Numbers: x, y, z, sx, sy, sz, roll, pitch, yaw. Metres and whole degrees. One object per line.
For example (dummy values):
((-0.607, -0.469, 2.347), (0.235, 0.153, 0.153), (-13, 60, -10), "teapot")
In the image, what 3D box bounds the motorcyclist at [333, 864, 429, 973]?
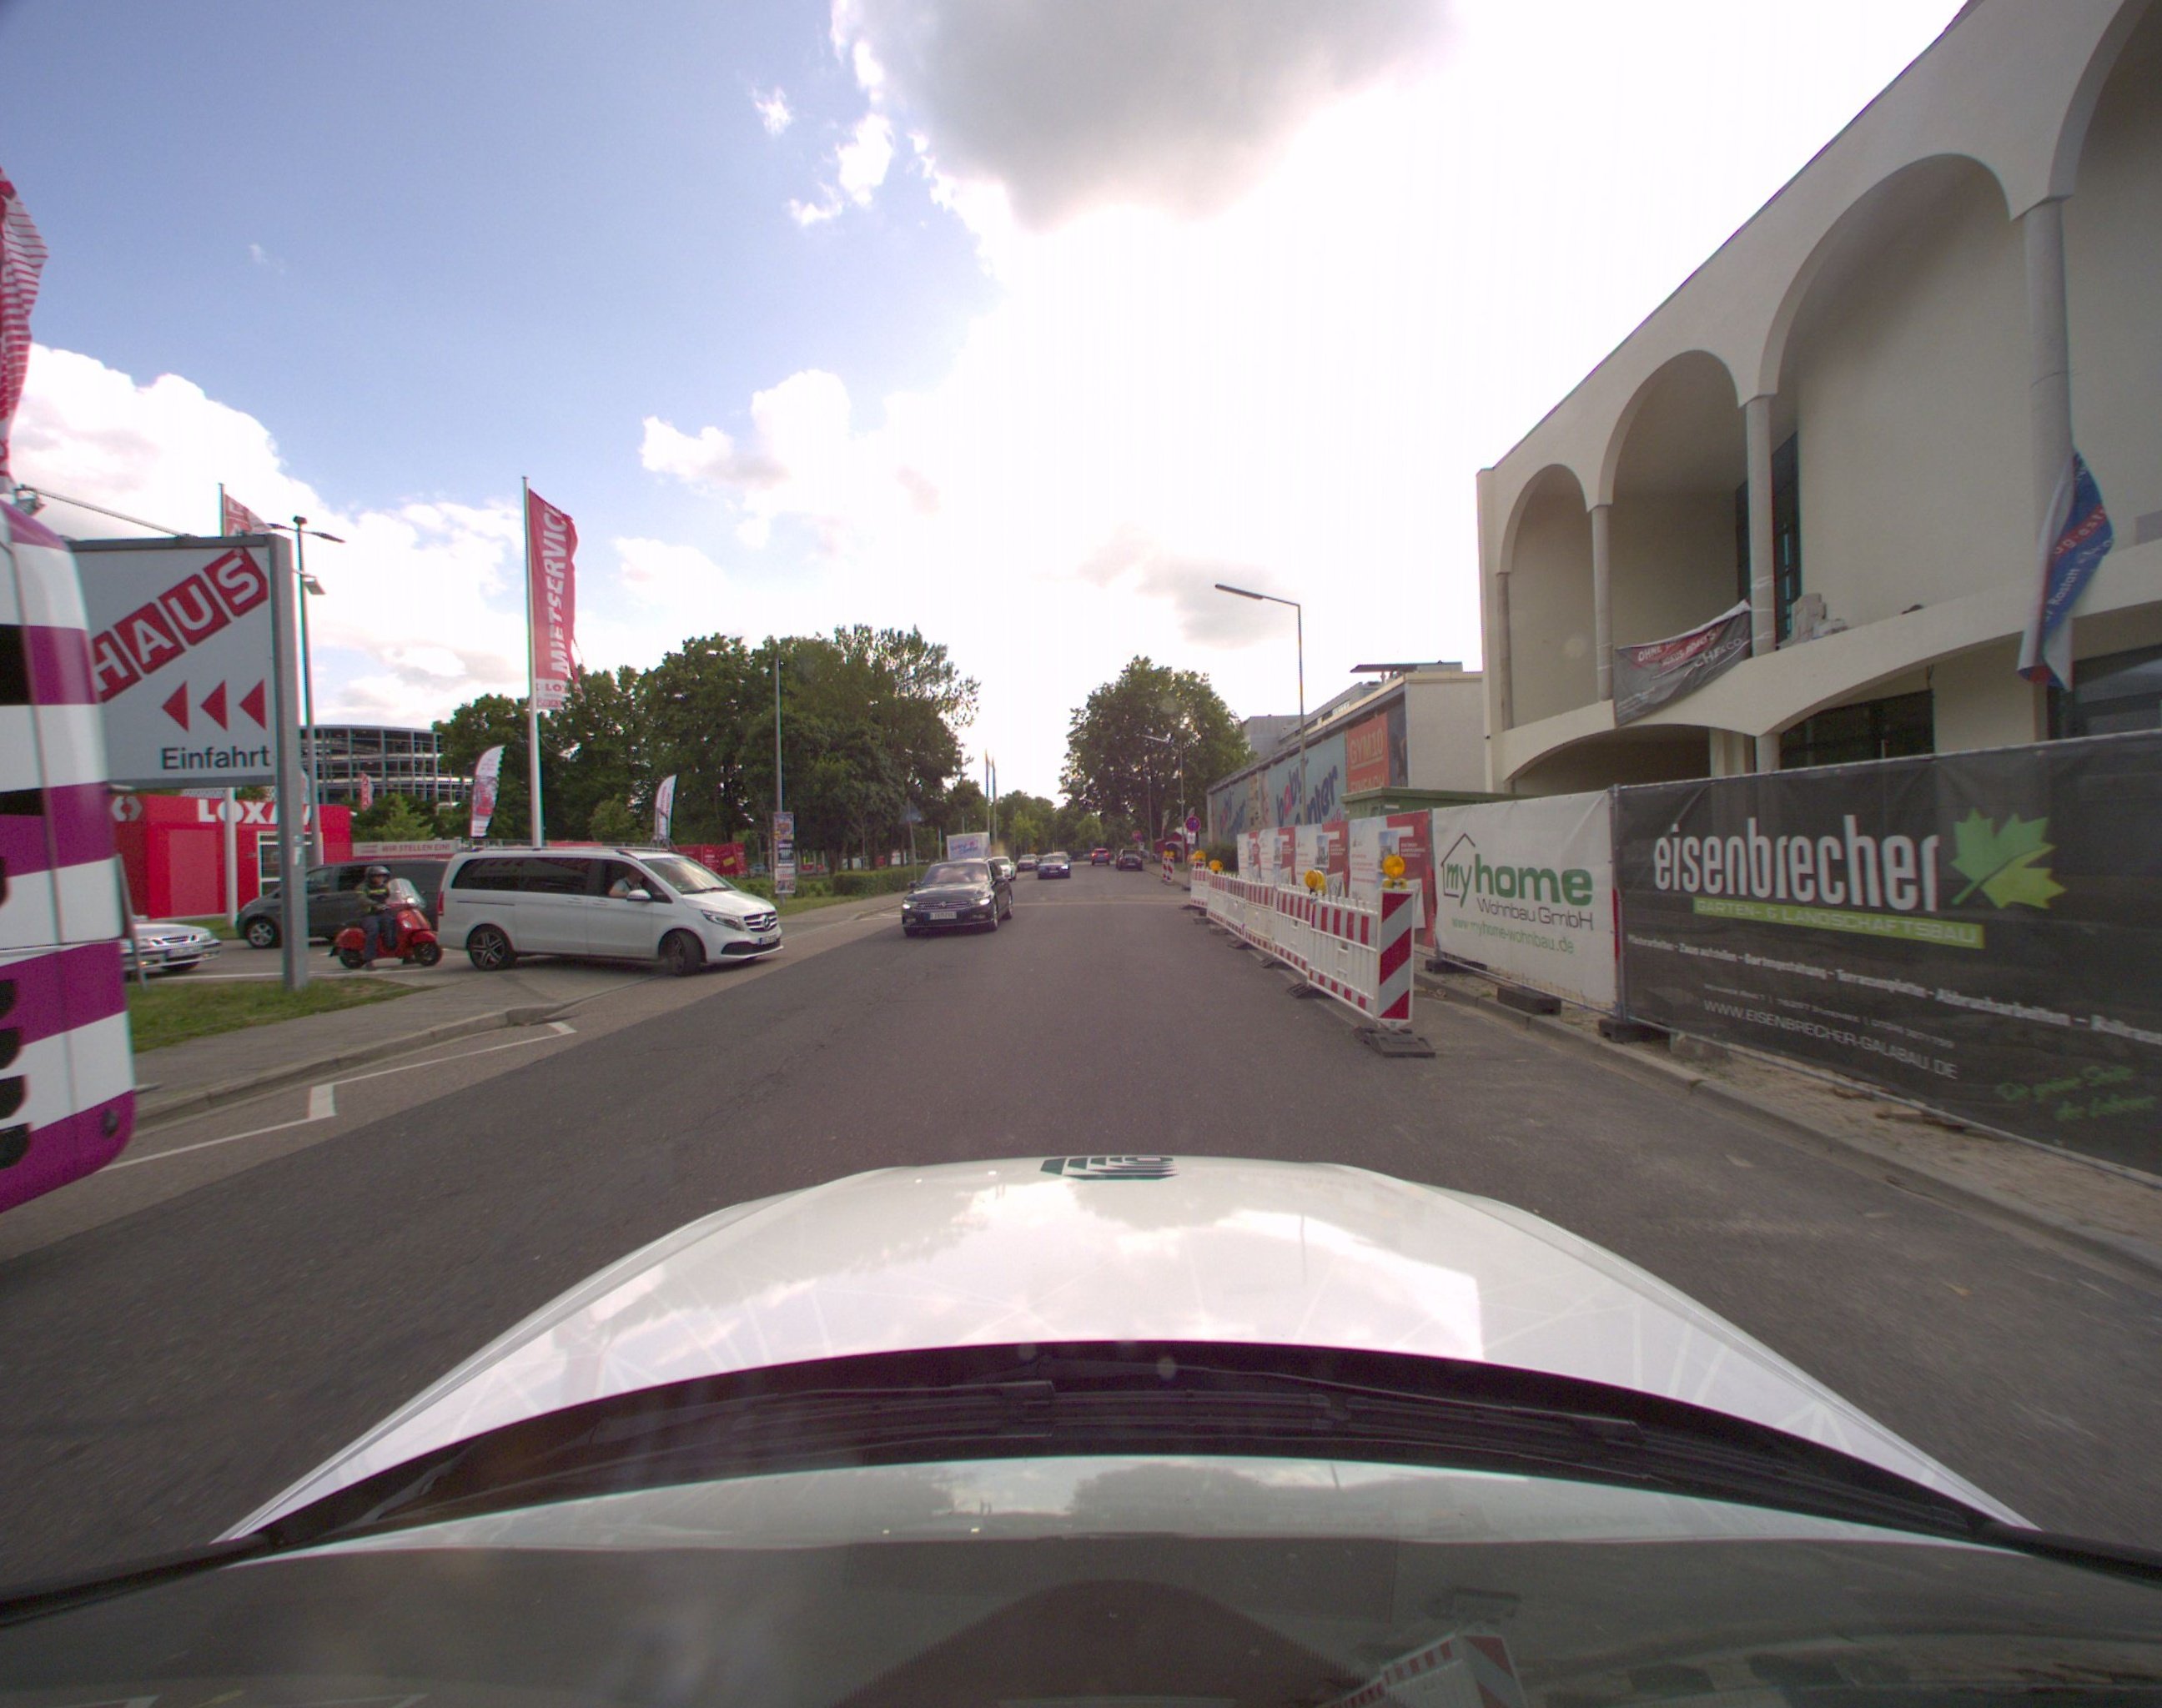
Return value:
((-11.753, 1.051, 13.715), (0.671, 1.723, 0.995), (-2, 0, 2), "motorcyclist")

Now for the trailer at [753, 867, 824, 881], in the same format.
((-22.333, 1.509, 62.232), (4.572, 0.912, 2.191), (-2, 1, 5), "trailer")

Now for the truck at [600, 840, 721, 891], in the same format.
((-23.189, 0.651, 44.983), (5.731, 2.594, 1.816), (-2, -2, 2), "truck")

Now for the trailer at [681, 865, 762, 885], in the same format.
((-22.285, 1.326, 50.549), (4.222, 1.121, 1.671), (-1, -2, -2), "trailer")

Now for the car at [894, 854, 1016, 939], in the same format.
((-2.542, 0.795, 17.445), (1.790, 1.459, 4.385), (-3, 0, 1), "car")

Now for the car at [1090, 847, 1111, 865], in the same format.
((2.038, 0.165, 84.855), (1.956, 1.815, 4.274), (-2, 0, -1), "car")

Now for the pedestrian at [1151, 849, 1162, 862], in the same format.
((7.723, 0.138, 83.664), (1.008, 1.314, 0.967), (-2, 0, 9), "pedestrian")

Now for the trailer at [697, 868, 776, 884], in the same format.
((-22.360, 1.453, 52.963), (4.222, 0.913, 2.158), (-1, -2, -1), "trailer")

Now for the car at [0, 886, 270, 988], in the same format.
((-17.017, 1.374, 13.759), (4.666, 1.453, 1.955), (-2, 0, 1), "car")

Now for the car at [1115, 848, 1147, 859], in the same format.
((6.994, -0.094, 114.008), (4.208, 1.406, 1.923), (-2, 0, -2), "car")

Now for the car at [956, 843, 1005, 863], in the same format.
((-13.966, -0.112, 113.871), (6.348, 2.578, 2.211), (-2, 1, 7), "car")

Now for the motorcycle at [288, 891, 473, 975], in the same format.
((-11.741, 1.304, 13.712), (2.213, 1.213, 0.995), (-2, 0, 1), "motorcycle")

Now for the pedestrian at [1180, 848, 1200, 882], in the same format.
((5.122, 0.509, 38.227), (0.680, 1.534, 1.128), (-1, 0, -4), "pedestrian")

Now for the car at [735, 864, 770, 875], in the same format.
((-45.497, 2.137, 112.881), (4.006, 1.406, 1.797), (-2, 0, -2), "car")

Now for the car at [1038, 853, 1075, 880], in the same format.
((-1.390, 0.695, 47.692), (1.916, 1.377, 4.381), (-2, 0, 1), "car")

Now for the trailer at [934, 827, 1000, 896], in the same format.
((-5.066, 0.291, 36.917), (2.132, 2.783, 4.703), (-4, 0, 0), "trailer")

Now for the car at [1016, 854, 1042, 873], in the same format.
((-4.546, 0.817, 71.882), (1.703, 1.420, 4.334), (-4, 0, 2), "car")

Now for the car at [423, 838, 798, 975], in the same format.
((-7.461, 0.799, 13.218), (4.975, 1.949, 1.996), (-2, 0, 6), "car")

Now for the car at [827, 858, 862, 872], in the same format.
((-39.905, 1.878, 137.570), (5.273, 2.211, 1.796), (-2, -1, -3), "car")

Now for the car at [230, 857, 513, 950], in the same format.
((-16.091, 1.069, 18.684), (4.529, 1.845, 2.110), (-2, 0, -1), "car")

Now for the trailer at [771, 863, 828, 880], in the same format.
((-22.398, 1.399, 64.867), (3.797, 1.190, 1.718), (-2, 1, 6), "trailer")

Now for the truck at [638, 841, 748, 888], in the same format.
((-22.645, 0.633, 47.677), (5.528, 2.594, 1.779), (-2, -2, 1), "truck")

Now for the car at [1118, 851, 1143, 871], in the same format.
((3.796, 0.509, 62.481), (1.801, 1.391, 4.591), (1, 0, 2), "car")

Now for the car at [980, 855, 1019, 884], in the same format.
((-4.713, 0.879, 47.442), (1.760, 1.479, 4.234), (-4, 0, 0), "car")

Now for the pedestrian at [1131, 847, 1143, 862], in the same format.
((6.632, 0.075, 97.200), (1.003, 1.849, 1.222), (-1, 0, -17), "pedestrian")
